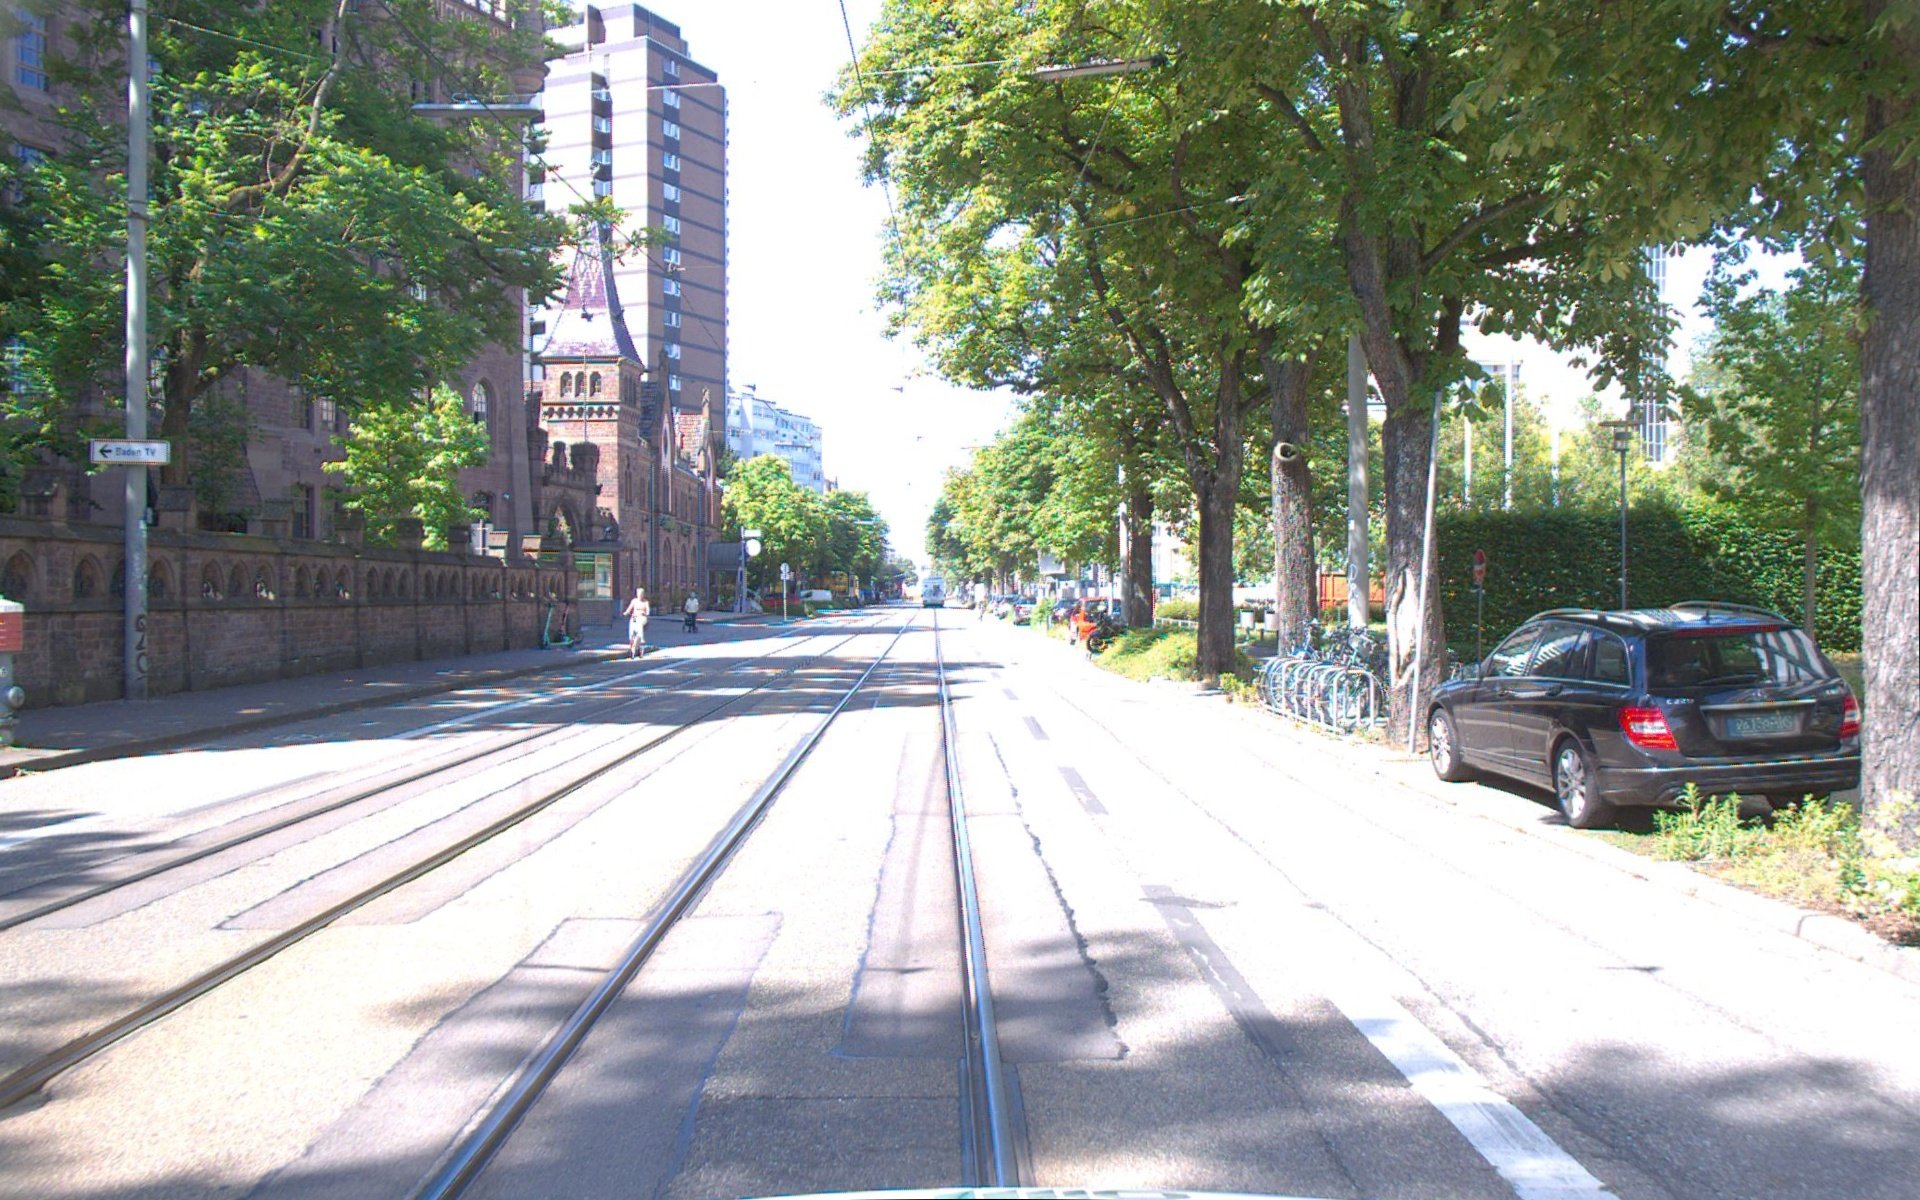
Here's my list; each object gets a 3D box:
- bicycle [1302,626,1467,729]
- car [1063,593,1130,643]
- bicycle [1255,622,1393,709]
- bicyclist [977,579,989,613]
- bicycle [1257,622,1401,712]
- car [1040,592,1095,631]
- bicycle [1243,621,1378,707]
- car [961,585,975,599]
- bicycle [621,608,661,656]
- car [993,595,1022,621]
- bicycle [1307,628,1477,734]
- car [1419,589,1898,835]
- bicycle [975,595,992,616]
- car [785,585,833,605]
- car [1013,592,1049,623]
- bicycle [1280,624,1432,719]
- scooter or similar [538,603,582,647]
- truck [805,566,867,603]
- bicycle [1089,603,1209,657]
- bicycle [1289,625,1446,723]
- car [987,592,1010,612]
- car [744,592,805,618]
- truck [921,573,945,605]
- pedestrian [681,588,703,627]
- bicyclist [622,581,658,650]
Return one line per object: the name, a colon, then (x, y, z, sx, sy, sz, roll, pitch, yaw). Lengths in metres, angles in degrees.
bicycle: (4.790, 0.865, 18.716, 1.689, 1.105, 0.696, 0, 0, -2)
car: (4.210, 0.532, 51.408, 1.597, 1.498, 3.717, 0, 0, -3)
bicycle: (4.733, 0.845, 21.562, 1.689, 1.105, 0.478, 0, 0, -2)
bicyclist: (1.278, -0.210, 92.375, 0.623, 1.904, 1.024, 0, 0, -2)
bicycle: (4.672, 0.844, 20.991, 1.689, 1.105, 0.615, 0, 0, -2)
car: (3.937, 0.405, 61.259, 1.597, 1.378, 3.899, 0, 0, -3)
bicycle: (4.660, 0.847, 22.045, 1.689, 1.105, 0.478, 0, 0, -2)
car: (0.901, -0.927, 187.722, 1.596, 1.596, 4.113, 0, 0, -1)
bicycle: (-8.123, 0.805, 42.217, 0.649, 1.174, 2.014, 0, 0, -1)
car: (2.898, 0.484, 100.814, 1.596, 1.498, 4.113, 0, 0, -1)
bicycle: (4.698, 0.874, 18.056, 1.689, 1.105, 0.628, 0, 0, -2)
car: (4.952, 0.682, 12.432, 1.597, 1.509, 4.270, 0, 0, -3)
bicycle: (1.289, 0.286, 92.272, 0.838, 1.129, 2.139, 0, 0, -2)
car: (-13.856, -0.461, 151.550, 3.947, 1.780, 1.979, 0, 0, -32)
car: (3.522, 0.350, 82.935, 1.596, 1.498, 4.113, 0, 0, -1)
bicycle: (4.772, 0.855, 19.957, 1.689, 1.105, 0.589, 0, 0, -2)
scooter or similar: (-10.474, 0.645, 43.323, 0.327, 1.149, 1.181, 0, 0, 38)
truck: (-13.445, -1.667, 180.370, 2.755, 3.927, 10.001, 0, 0, 21)
bicycle: (4.811, 0.763, 42.293, 2.965, 1.355, 1.041, 0, 0, 2)
bicycle: (4.754, 0.859, 19.346, 1.689, 1.105, 0.570, 0, 0, -2)
car: (2.906, 0.170, 126.435, 1.596, 1.498, 4.113, 0, 0, -1)
car: (-13.270, 0.342, 118.424, 3.959, 1.842, 1.864, 0, 0, -38)
truck: (-2.748, -1.094, 168.604, 2.354, 3.163, 6.036, 0, 0, -1)
pedestrian: (-10.728, 0.297, 66.144, 0.867, 1.538, 1.472, 0, 0, -10)
bicyclist: (-8.136, 0.383, 42.052, 0.710, 1.728, 1.146, 0, 0, -2)
